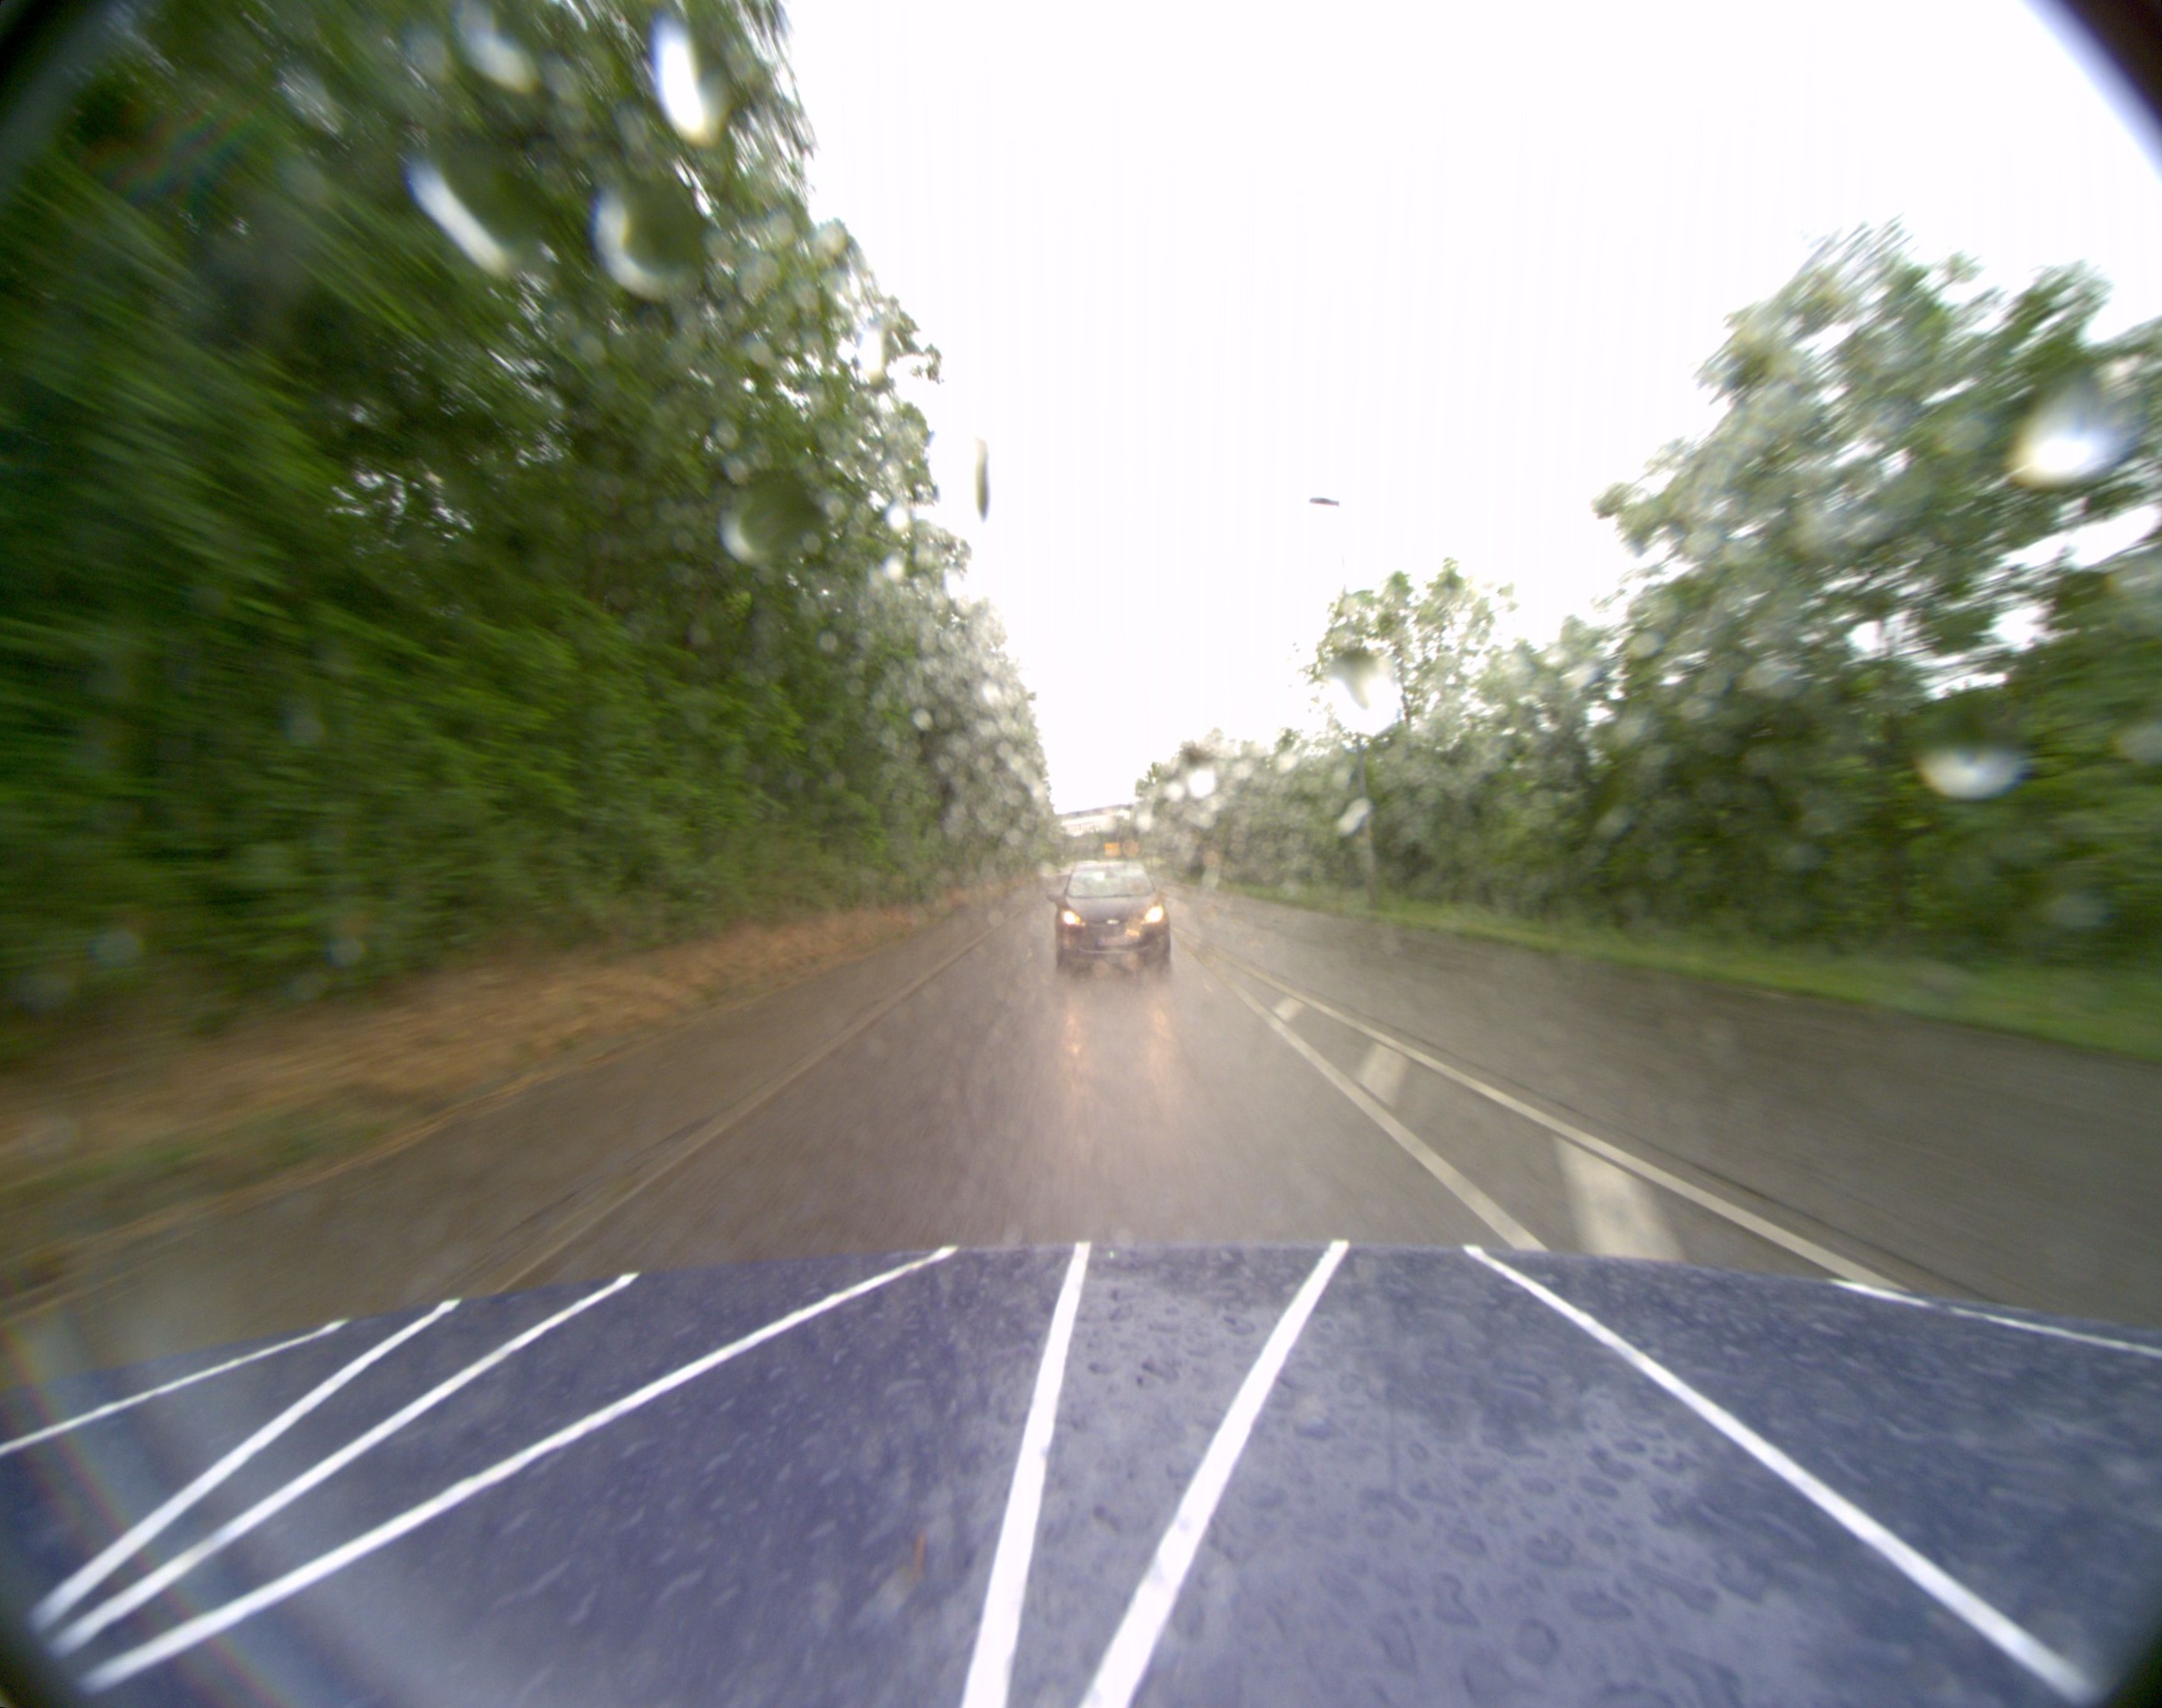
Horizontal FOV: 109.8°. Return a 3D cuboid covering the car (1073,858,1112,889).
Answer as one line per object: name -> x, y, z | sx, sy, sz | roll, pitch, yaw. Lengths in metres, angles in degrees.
car -> 0.553, 0.990, 40.043 | 1.874, 1.432, 4.377 | -3, 0, -1

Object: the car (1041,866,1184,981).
car -> 0.388, 0.974, 12.480 | 1.874, 1.432, 4.377 | -3, 0, -1
